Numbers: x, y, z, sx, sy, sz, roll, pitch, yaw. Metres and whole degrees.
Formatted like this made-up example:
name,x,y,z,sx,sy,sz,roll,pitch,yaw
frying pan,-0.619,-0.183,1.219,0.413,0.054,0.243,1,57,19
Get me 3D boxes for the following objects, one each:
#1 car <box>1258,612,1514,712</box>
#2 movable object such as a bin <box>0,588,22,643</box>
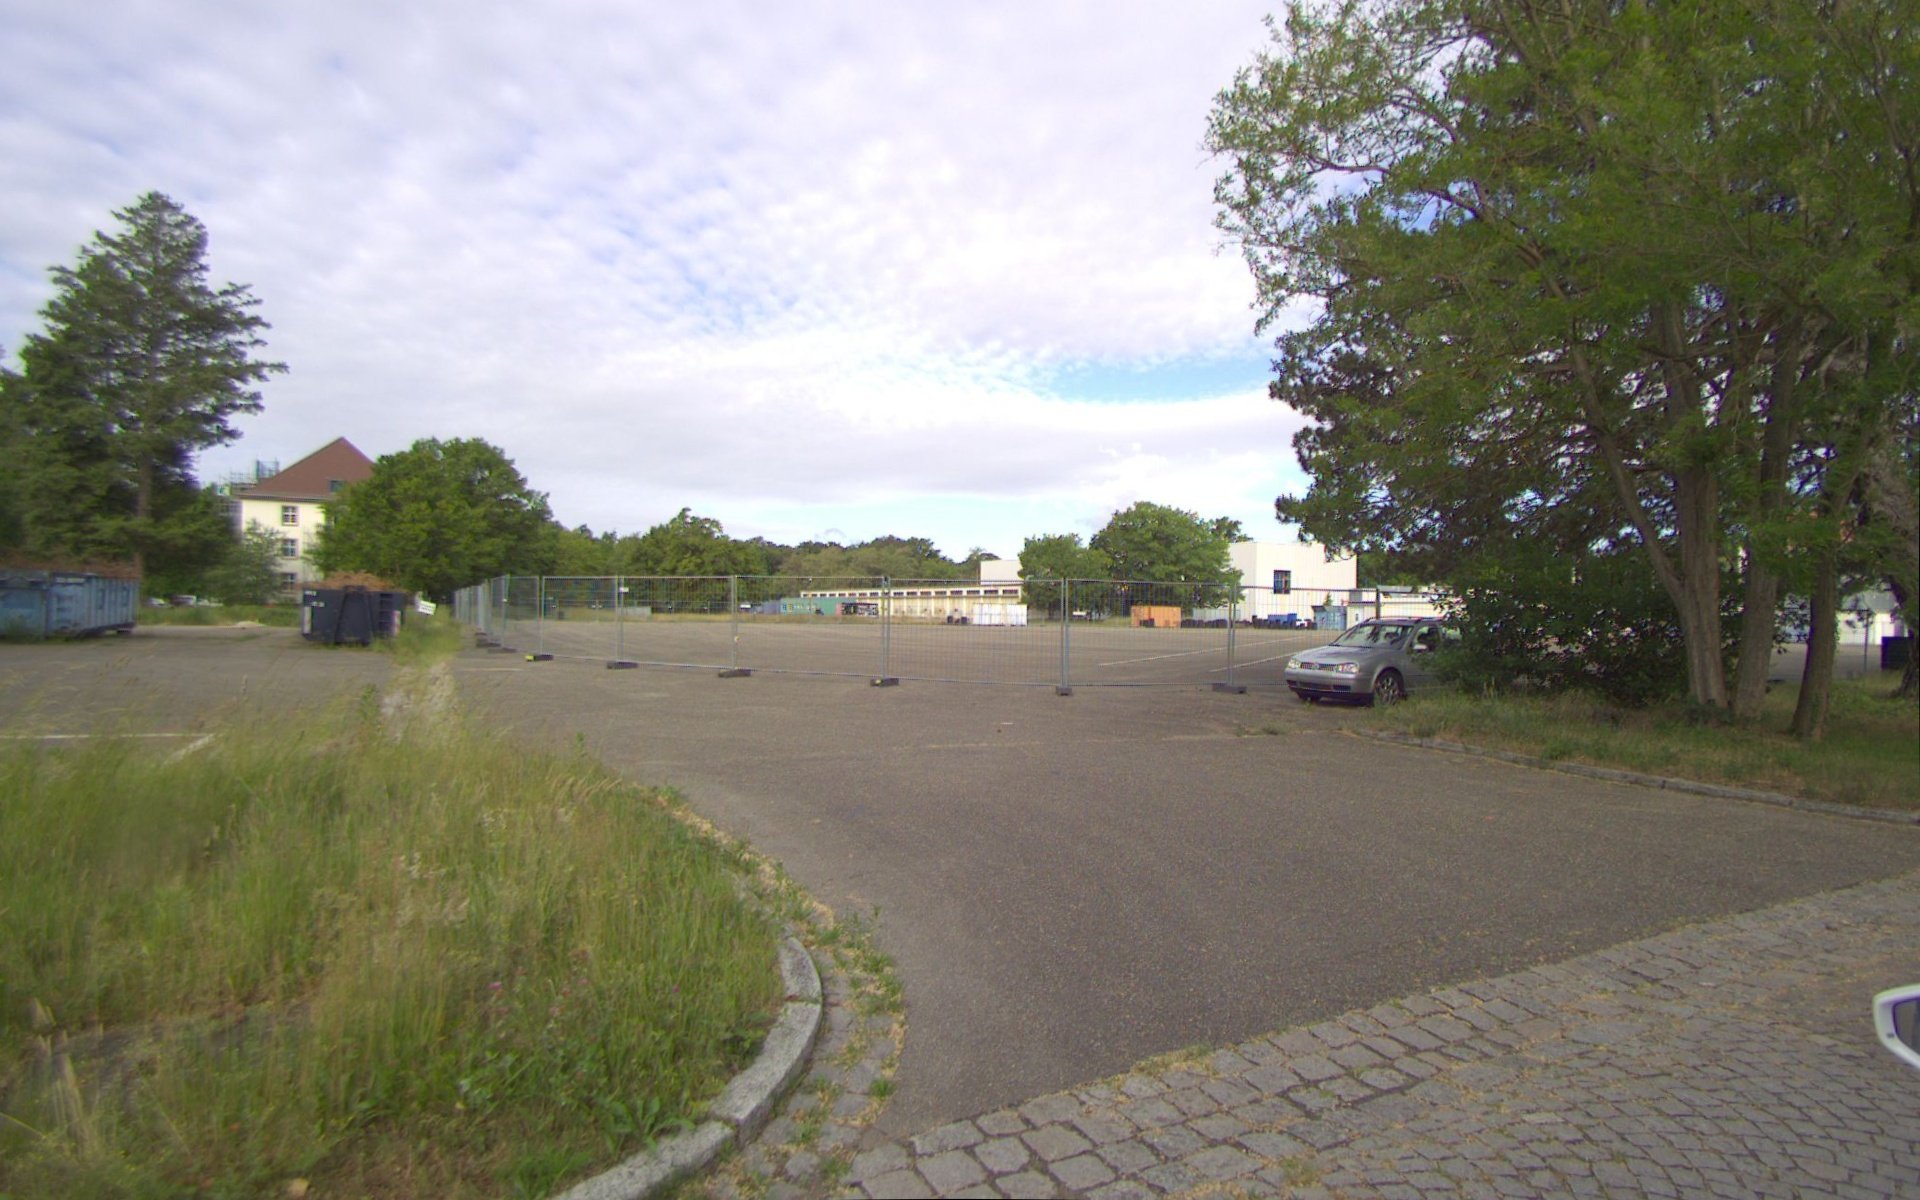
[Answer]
name,x,y,z,sx,sy,sz,roll,pitch,yaw
car,7.392,1.002,17.341,4.319,1.496,1.909,1,0,-31
movable object such as a bin,-22.759,0.322,22.350,2.508,1.228,1.162,1,0,-28
